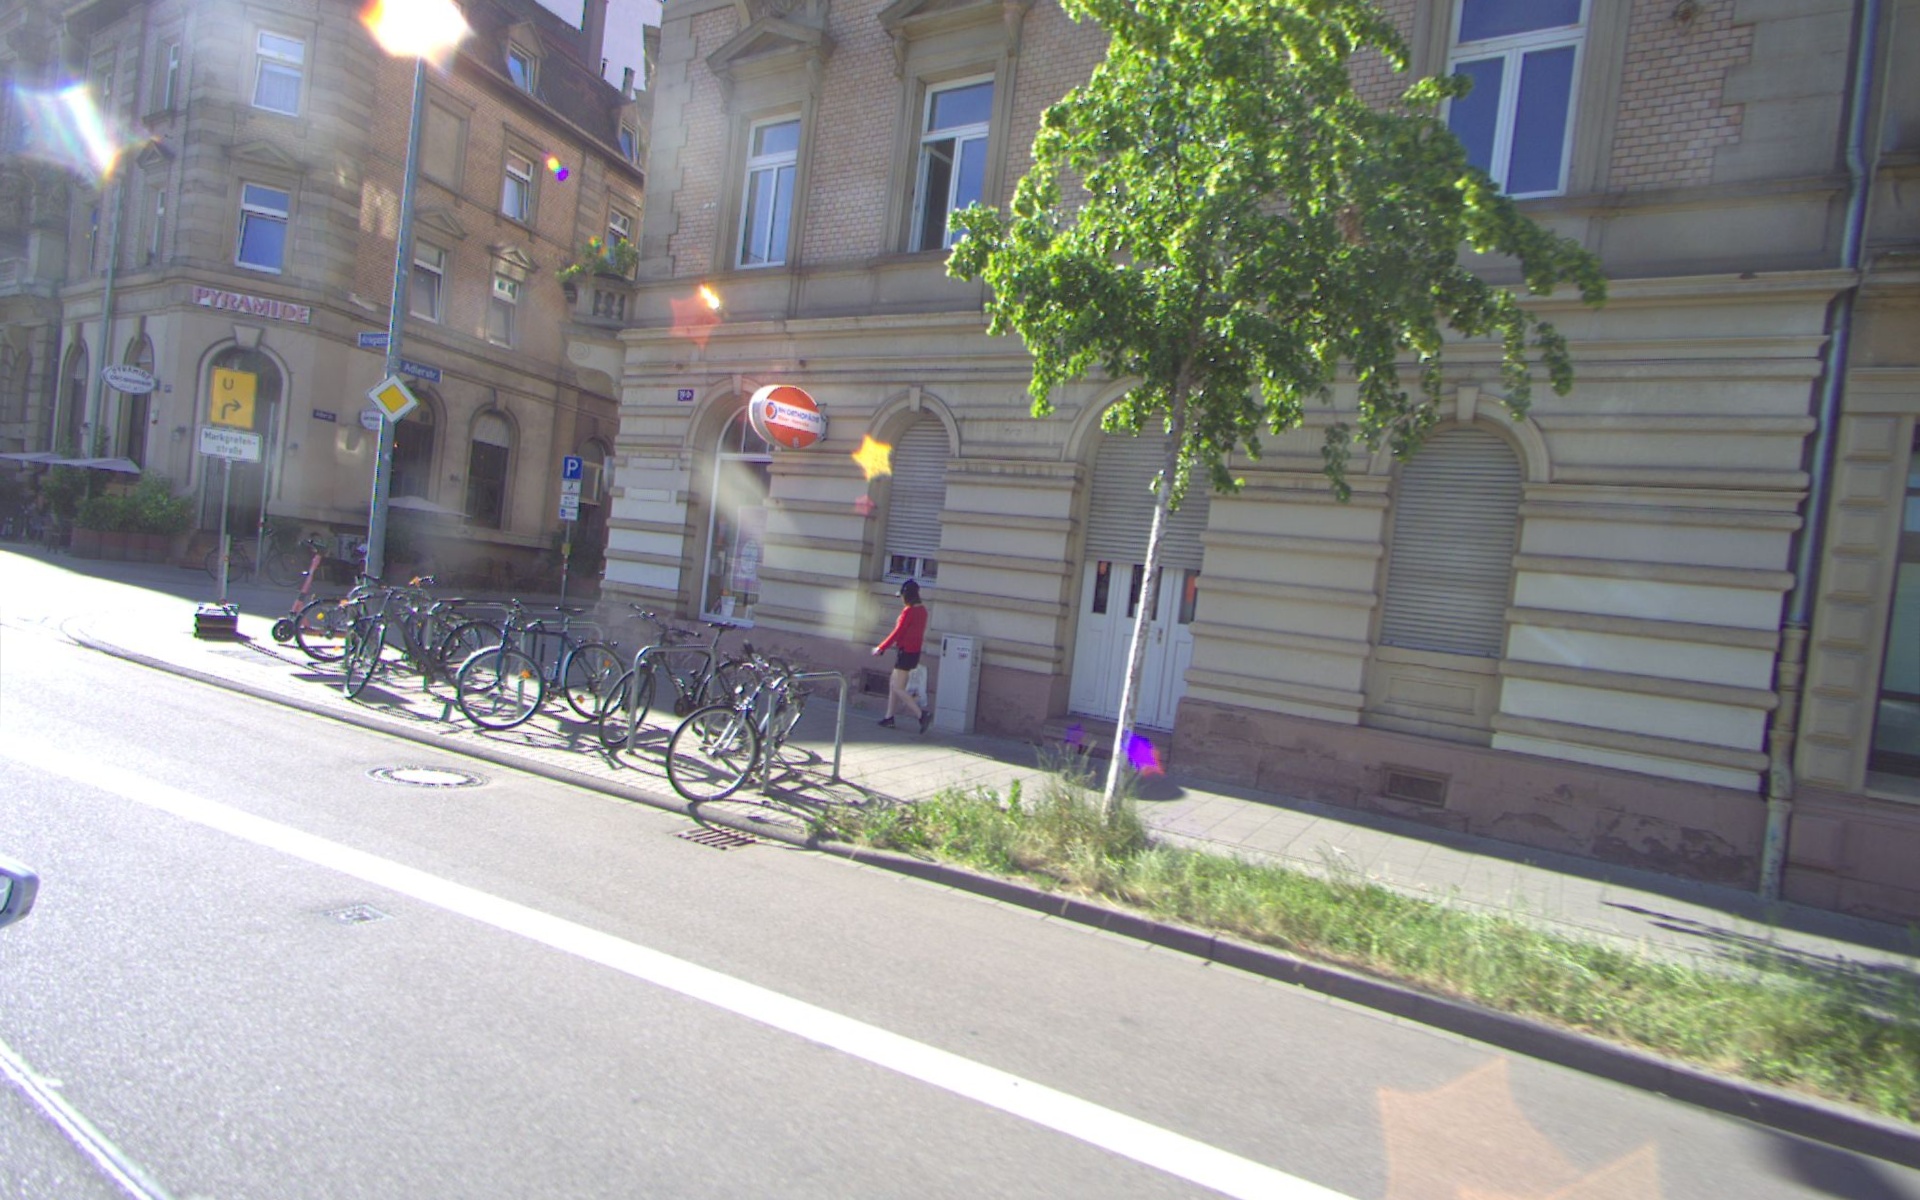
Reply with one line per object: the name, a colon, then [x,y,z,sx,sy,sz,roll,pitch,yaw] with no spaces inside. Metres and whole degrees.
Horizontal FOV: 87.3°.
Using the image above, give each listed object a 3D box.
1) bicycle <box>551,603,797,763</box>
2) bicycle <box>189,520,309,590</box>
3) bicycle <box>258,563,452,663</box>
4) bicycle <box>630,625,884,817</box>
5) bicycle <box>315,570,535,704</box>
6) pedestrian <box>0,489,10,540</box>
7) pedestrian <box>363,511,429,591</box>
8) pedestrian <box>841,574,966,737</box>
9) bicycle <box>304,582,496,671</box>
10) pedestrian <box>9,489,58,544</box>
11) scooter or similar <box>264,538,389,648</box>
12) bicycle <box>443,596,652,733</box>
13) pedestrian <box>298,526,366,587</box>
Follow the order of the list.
bicycle: [-2.366,0.649,8.598,0.698,1.143,1.994,8,3,32]
bicycle: [-14.689,-0.916,20.825,0.643,1.186,1.818,12,3,35]
bicycle: [-6.607,0.165,11.061,0.597,0.956,1.668,8,2,38]
bicycle: [-1.430,0.812,7.557,0.832,1.107,1.998,7,3,22]
bicycle: [-5.043,0.337,9.585,0.597,1.116,1.722,8,3,34]
pedestrian: [-23.184,-2.080,23.913,0.624,1.194,0.706,7,3,31]
pedestrian: [-13.808,-1.189,24.632,0.852,1.782,0.909,7,0,24]
pedestrian: [-0.588,0.571,10.583,0.911,1.561,0.710,7,1,31]
bicycle: [-5.989,0.307,10.841,0.597,0.832,1.668,8,2,37]
pedestrian: [-22.731,-2.048,24.685,0.624,1.253,0.706,7,3,31]
scooter or similar: [-7.590,-0.066,12.080,0.412,1.205,1.110,8,2,38]
bicycle: [-3.636,0.543,8.982,0.597,1.060,1.598,8,3,34]
pedestrian: [-14.461,-0.991,23.169,0.917,1.229,0.852,7,0,24]
